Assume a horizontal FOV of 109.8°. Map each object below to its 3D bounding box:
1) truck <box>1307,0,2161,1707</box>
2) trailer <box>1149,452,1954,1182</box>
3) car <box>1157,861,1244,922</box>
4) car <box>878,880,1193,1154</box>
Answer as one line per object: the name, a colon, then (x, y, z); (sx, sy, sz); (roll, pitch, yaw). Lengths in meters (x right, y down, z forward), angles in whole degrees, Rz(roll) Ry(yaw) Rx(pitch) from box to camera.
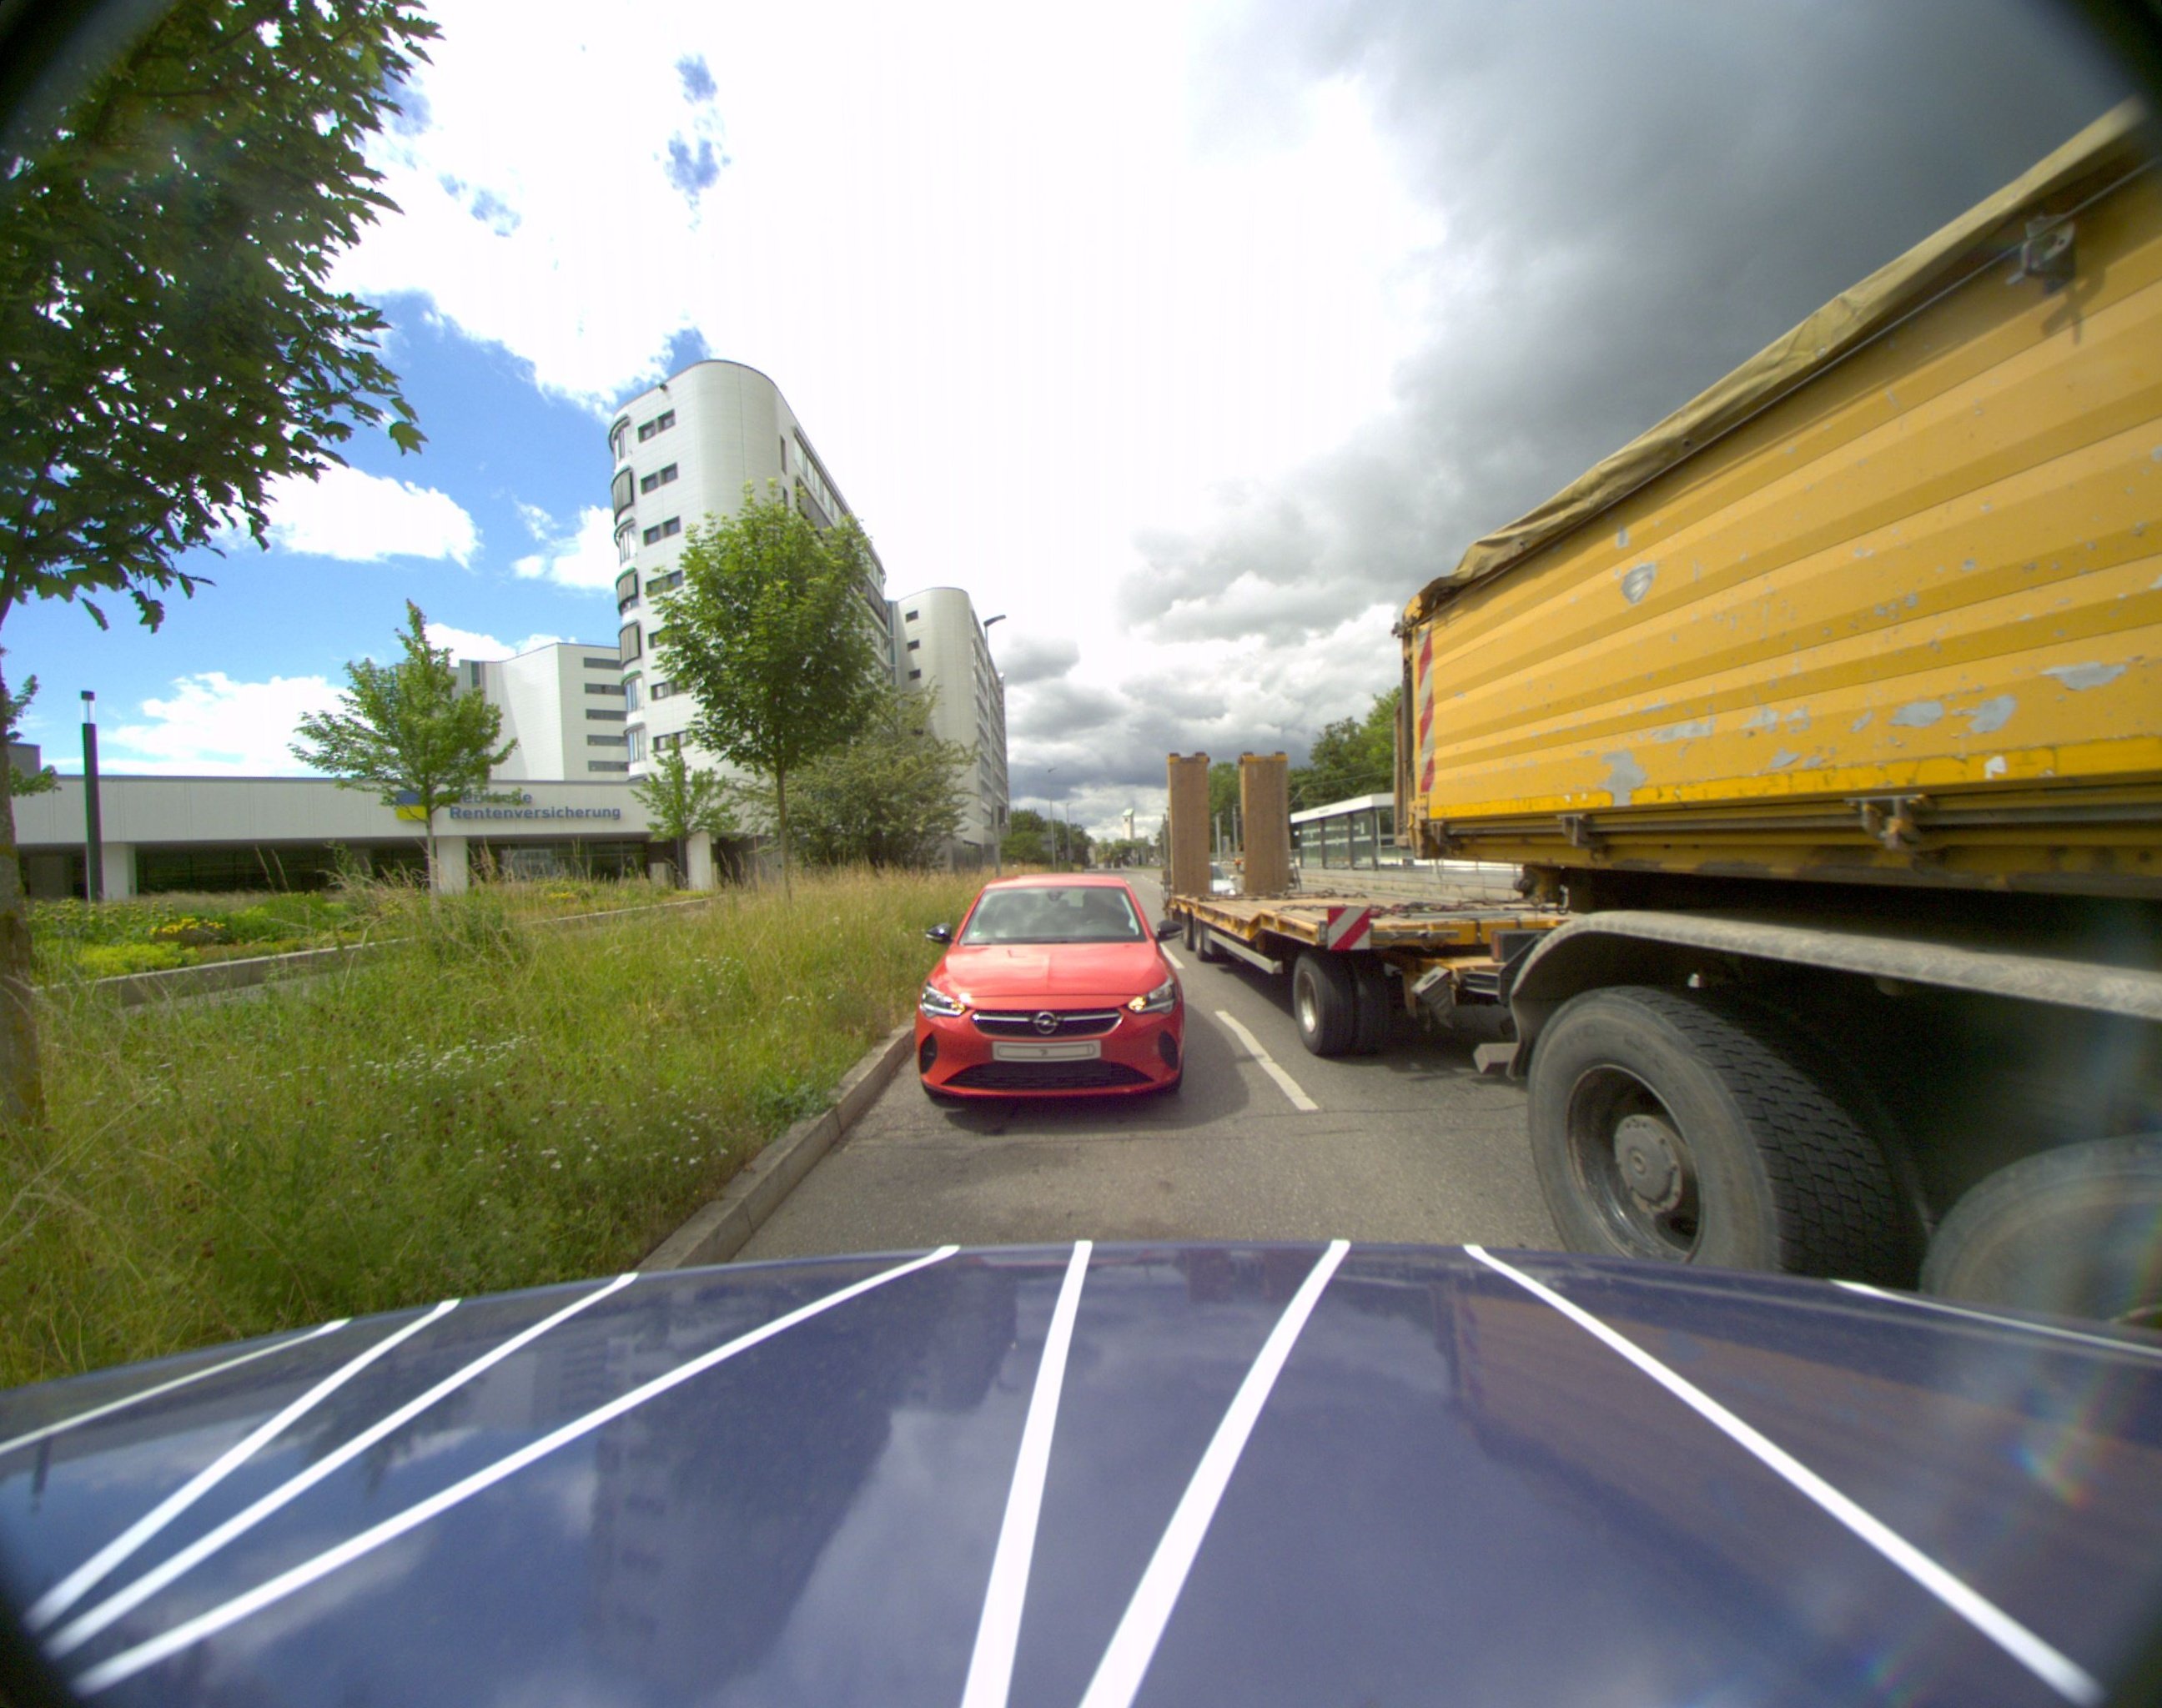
truck: (2.831, -0.052, 0.118); (3.057, 3.374, 8.006); (-2, 0, 0)
trailer: (2.938, -0.166, 9.419); (3.057, 3.676, 10.965); (-2, 0, 0)
car: (3.120, 0.949, 20.606); (1.784, 1.408, 3.785); (-2, 0, 1)
car: (-0.225, 0.980, 6.104); (1.749, 1.408, 3.676); (-1, 0, 1)
